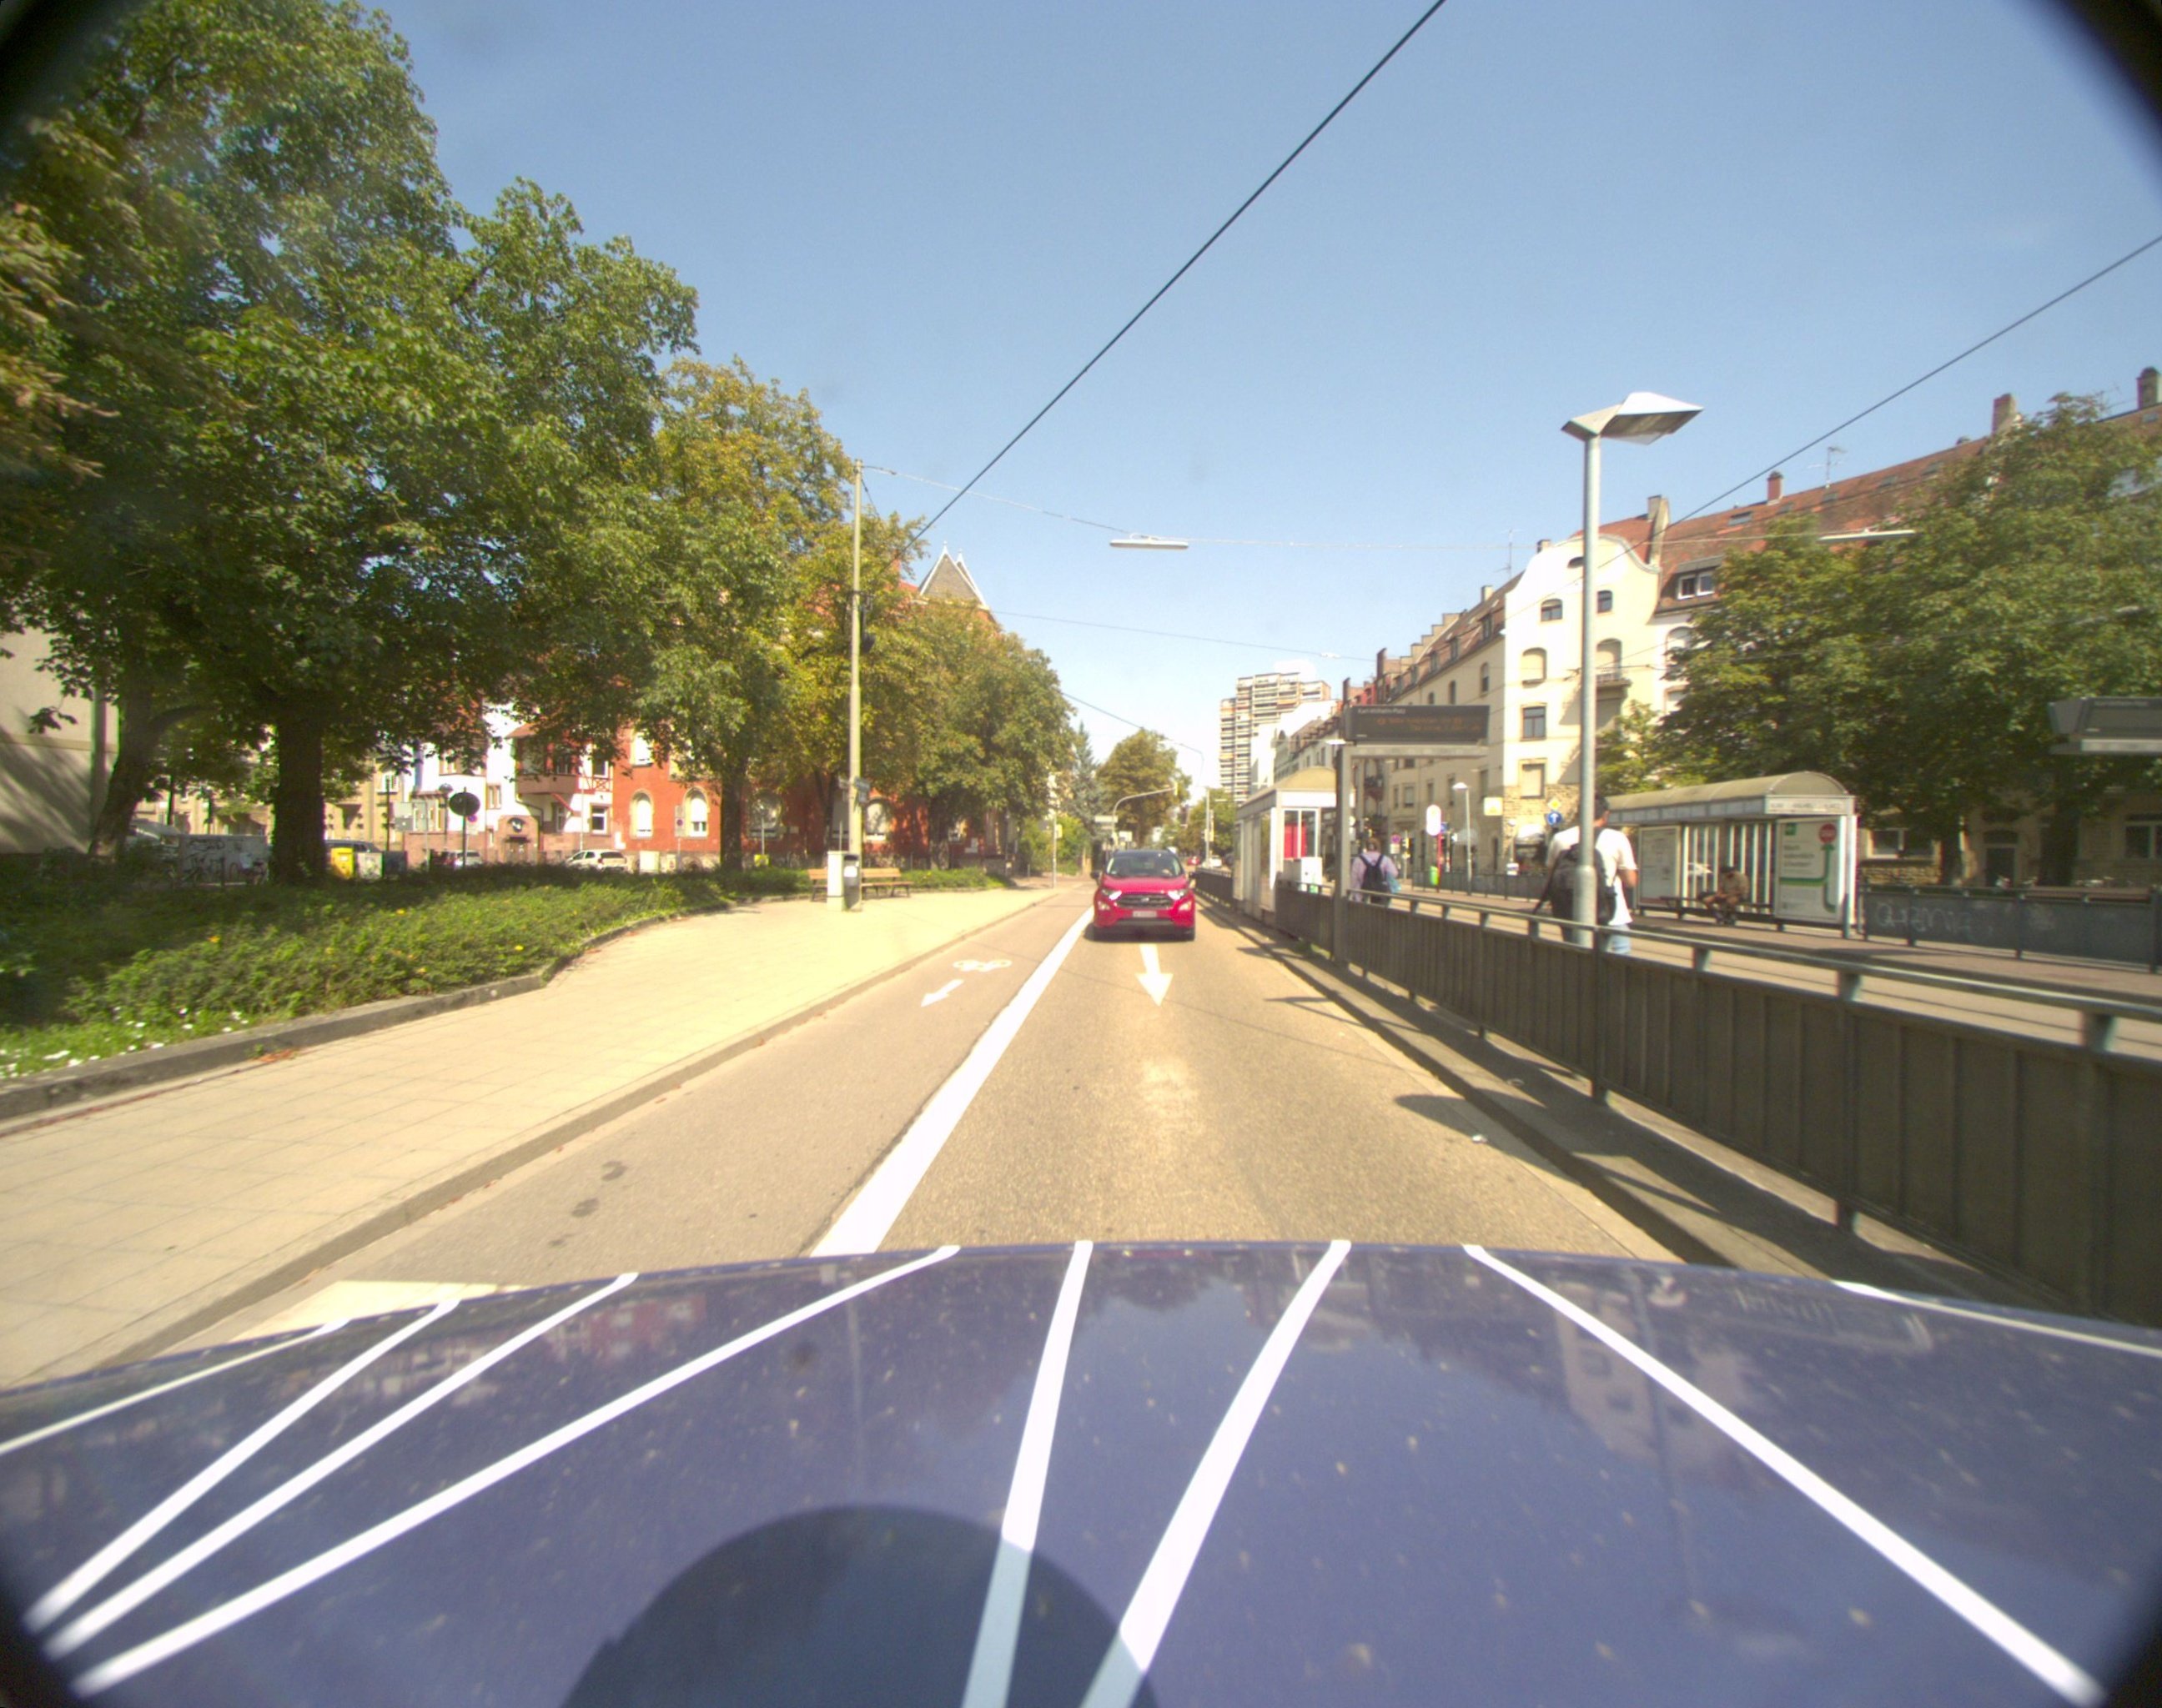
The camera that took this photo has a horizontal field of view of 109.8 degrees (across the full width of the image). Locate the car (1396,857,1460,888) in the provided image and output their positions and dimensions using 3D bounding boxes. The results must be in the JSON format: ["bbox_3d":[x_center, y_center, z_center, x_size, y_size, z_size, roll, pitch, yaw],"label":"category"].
[{"bbox_3d":[20.837,1.074,45.785,1.998,1.716,4.632,2,0,5],"label":"car"}]

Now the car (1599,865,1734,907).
[{"bbox_3d":[27.159,1.437,35.364,2.004,1.716,4.616,1,0,-42],"label":"car"}]

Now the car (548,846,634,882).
[{"bbox_3d":[-25.658,0.489,39.780,4.404,1.801,1.808,1,0,27],"label":"car"}]

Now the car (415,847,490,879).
[{"bbox_3d":[-37.279,0.487,45.040,4.404,1.801,1.808,1,0,27],"label":"car"}]

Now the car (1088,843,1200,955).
[{"bbox_3d":[1.135,0.734,14.603,1.802,1.801,4.417,1,0,3],"label":"car"}]

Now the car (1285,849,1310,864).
[{"bbox_3d":[26.187,0.253,92.118,1.998,1.716,4.632,2,0,5],"label":"car"}]

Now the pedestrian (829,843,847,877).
[{"bbox_3d":[-13.469,0.344,42.164,0.677,1.874,0.920,0,1,-36],"label":"pedestrian"}]

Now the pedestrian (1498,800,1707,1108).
[{"bbox_3d":[3.479,0.613,5.145,0.676,1.874,0.921,1,0,-15],"label":"pedestrian"}]

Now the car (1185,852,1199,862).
[{"bbox_3d":[18.370,0.488,125.557,1.998,1.716,4.632,2,0,5],"label":"car"}]

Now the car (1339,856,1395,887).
[{"bbox_3d":[17.498,1.017,46.754,1.998,1.716,4.632,2,0,5],"label":"car"}]

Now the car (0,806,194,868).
[{"bbox_3d":[-51.706,-0.817,39.853,1.800,2.959,6.496,1,0,22],"label":"car"}]

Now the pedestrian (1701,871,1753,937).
[{"bbox_3d":[12.782,0.975,15.037,0.479,1.243,0.648,1,0,5],"label":"pedestrian"}]

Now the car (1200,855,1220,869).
[{"bbox_3d":[16.549,0.969,97.734,1.998,1.716,4.632,2,0,5],"label":"car"}]

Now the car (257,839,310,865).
[{"bbox_3d":[-57.969,-0.157,55.200,4.403,1.801,1.808,1,0,32],"label":"car"}]

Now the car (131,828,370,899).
[{"bbox_3d":[-23.596,0.271,21.771,1.799,1.801,4.426,2,0,35],"label":"car"}]

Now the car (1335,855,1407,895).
[{"bbox_3d":[13.702,0.943,36.171,1.997,1.716,4.633,2,0,6],"label":"car"}]

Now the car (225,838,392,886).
[{"bbox_3d":[-31.164,0.306,30.799,1.799,1.801,4.425,1,0,31],"label":"car"}]

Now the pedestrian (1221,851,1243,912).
[{"bbox_3d":[4.266,0.773,21.527,0.535,1.684,0.832,1,0,7],"label":"pedestrian"}]

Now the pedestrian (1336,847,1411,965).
[{"bbox_3d":[4.102,0.704,10.710,0.738,1.575,0.853,1,0,3],"label":"pedestrian"}]
